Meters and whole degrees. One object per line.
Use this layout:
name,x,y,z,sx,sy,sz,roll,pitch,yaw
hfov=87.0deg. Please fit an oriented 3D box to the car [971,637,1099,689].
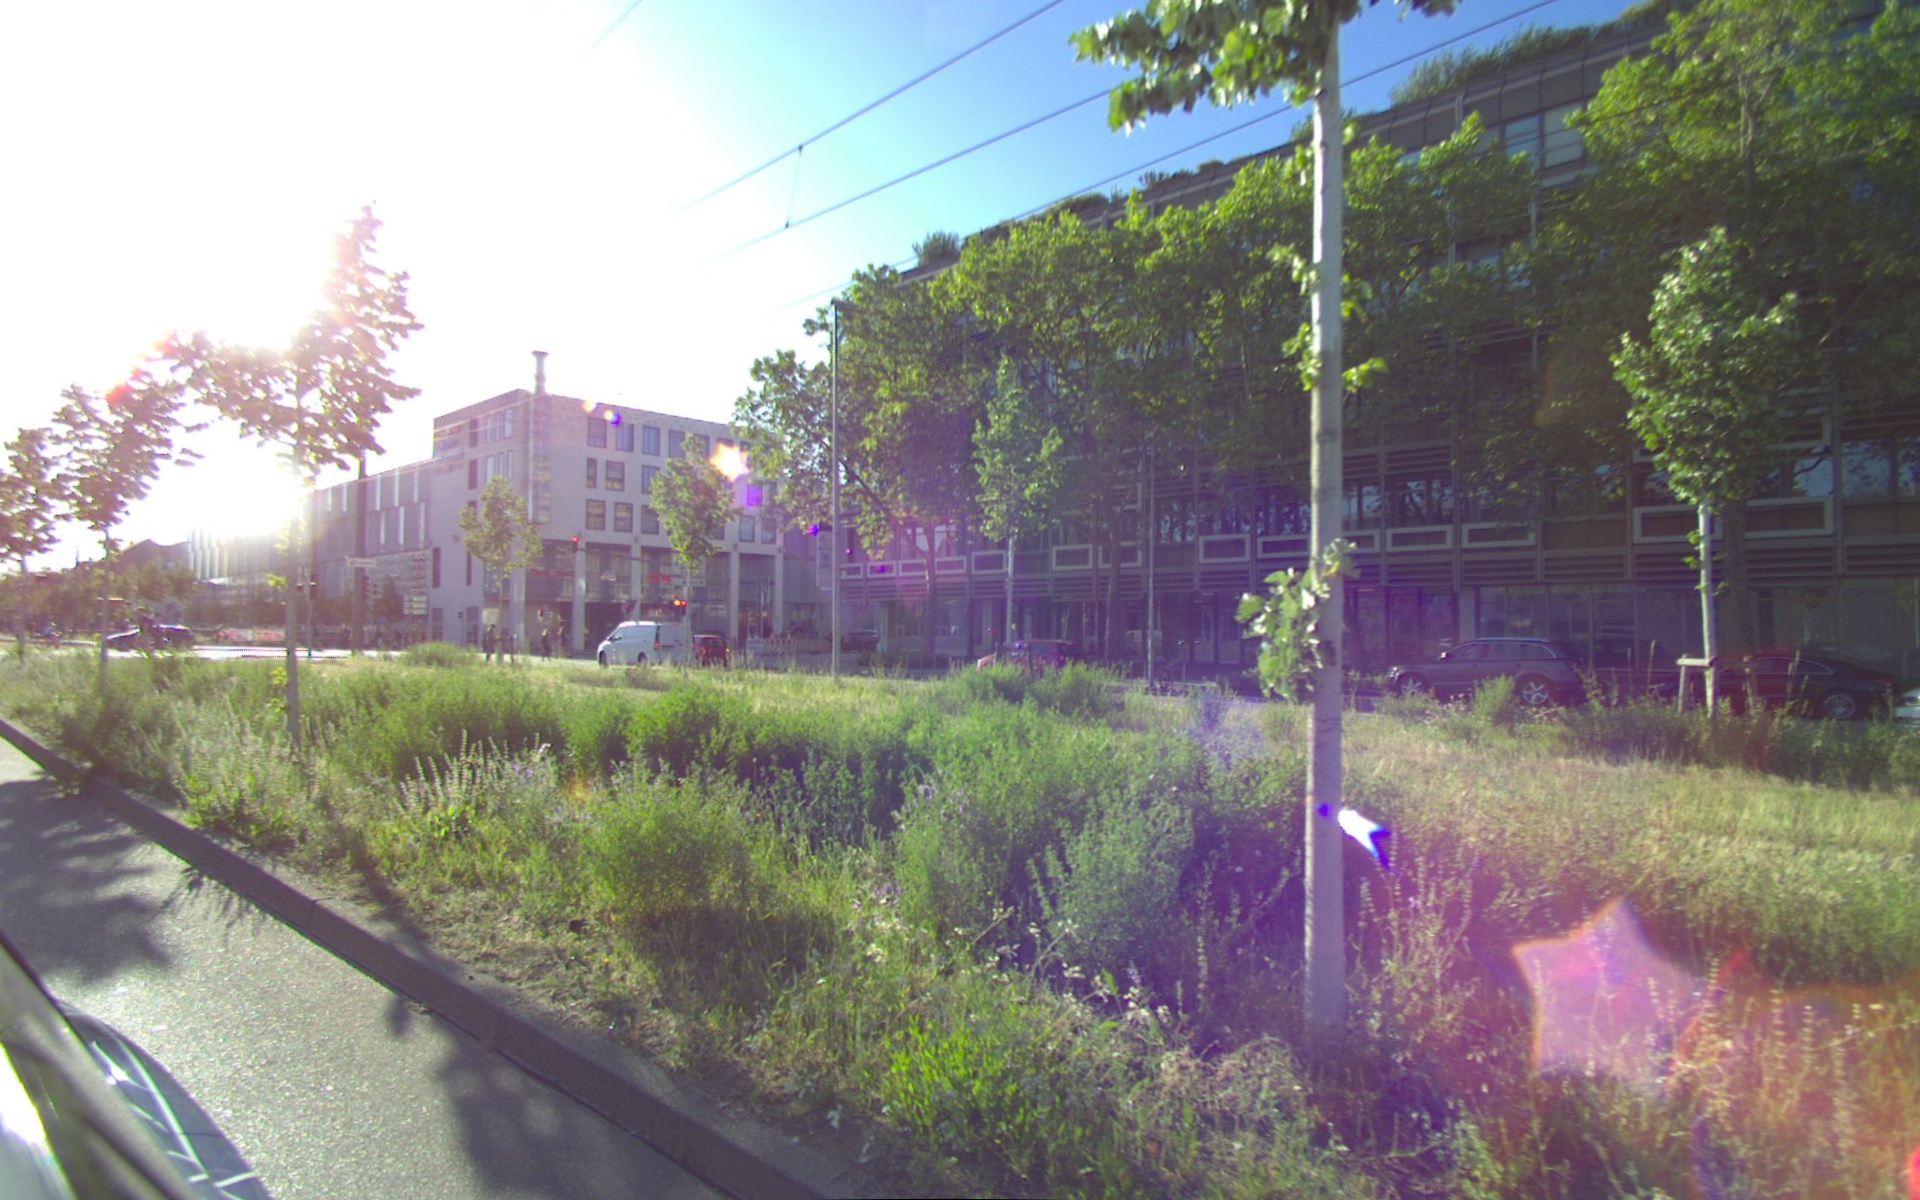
car,2.274,1.922,31.008,3.573,1.464,1.693,-1,-5,40

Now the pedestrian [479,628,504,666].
pedestrian,-21.825,2.195,47.154,0.857,1.757,0.729,-2,-2,39

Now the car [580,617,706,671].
car,-12.948,1.787,41.126,5.708,2.029,2.234,-2,-5,42

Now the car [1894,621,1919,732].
car,16.175,1.103,14.001,4.691,1.606,1.821,-1,-3,41

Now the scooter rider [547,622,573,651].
scooter rider,-22.012,2.002,55.714,0.644,1.556,1.101,0,-2,44

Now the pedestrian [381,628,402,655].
pedestrian,-43.013,3.130,76.574,0.907,2.029,1.021,0,-2,9

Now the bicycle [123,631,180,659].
bicycle,-33.464,1.858,41.925,1.770,1.102,0.711,1,-3,-34

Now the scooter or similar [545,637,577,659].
scooter or similar,-21.941,2.618,55.625,0.644,1.184,1.462,0,-2,44

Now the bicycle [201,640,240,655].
bicycle,-50.938,3.251,69.686,0.805,0.934,2.048,-1,-2,41

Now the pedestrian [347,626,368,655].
pedestrian,-44.532,2.996,74.750,0.889,2.140,0.943,0,-2,12

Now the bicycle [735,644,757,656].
bicycle,-19.454,4.521,91.836,0.822,1.119,2.479,2,-3,-41

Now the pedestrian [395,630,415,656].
pedestrian,-42.772,3.308,77.959,0.906,2.029,1.021,0,-2,7

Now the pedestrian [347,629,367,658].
pedestrian,-45.584,3.300,76.542,0.893,2.140,0.938,-1,-2,26

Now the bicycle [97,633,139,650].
bicycle,-51.969,2.563,62.460,1.948,1.004,0.650,1,-2,-42

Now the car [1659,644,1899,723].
car,18.282,1.785,22.688,4.002,1.532,1.971,-2,-2,45

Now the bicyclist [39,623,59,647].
bicyclist,-54.507,2.093,60.570,0.829,1.412,0.807,1,-2,-39

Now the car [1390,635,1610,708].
car,14.164,1.807,26.702,4.863,1.693,1.974,-1,-1,39

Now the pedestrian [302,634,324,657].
pedestrian,-45.370,3.194,70.979,0.934,1.583,0.839,0,-2,7

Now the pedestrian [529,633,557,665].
pedestrian,-20.701,2.434,50.286,0.895,1.561,0.915,-1,-1,29

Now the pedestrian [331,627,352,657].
pedestrian,-44.407,3.012,72.669,0.887,2.140,0.945,0,-2,5

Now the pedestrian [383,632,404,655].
pedestrian,-41.573,3.196,74.278,0.994,1.663,0.948,0,-2,2

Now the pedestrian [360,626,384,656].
pedestrian,-42.954,2.989,73.944,1.050,2.145,1.096,0,-2,5

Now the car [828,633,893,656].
car,-7.524,3.339,76.862,2.201,1.675,4.724,-2,-3,43

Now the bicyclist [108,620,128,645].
bicyclist,-51.991,2.007,62.469,0.927,1.556,0.650,1,-2,-42

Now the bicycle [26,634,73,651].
bicycle,-54.467,2.516,60.576,2.044,0.986,0.807,1,-2,-39

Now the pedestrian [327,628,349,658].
pedestrian,-45.359,3.141,73.782,0.889,2.140,0.943,0,-2,13

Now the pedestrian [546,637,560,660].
pedestrian,-31.280,3.702,77.752,0.753,1.753,0.746,-2,-3,45

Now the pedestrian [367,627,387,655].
pedestrian,-44.302,3.125,76.923,0.890,2.140,0.942,0,-2,15

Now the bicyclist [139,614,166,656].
bicyclist,-33.458,1.452,41.931,0.773,1.682,0.703,1,-3,-34

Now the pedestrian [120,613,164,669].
pedestrian,-28.921,1.441,35.785,1.014,1.925,1.036,-1,-2,41

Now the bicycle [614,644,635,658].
bicycle,-27.647,4.176,83.400,0.648,1.121,2.413,2,-3,-43

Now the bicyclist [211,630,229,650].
bicyclist,-50.946,2.748,69.698,0.805,1.367,0.830,-1,-2,42

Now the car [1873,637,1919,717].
car,21.290,1.559,20.063,4.619,1.569,1.726,-1,-1,40

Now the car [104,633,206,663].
car,-45.102,2.657,56.751,4.231,1.593,1.945,2,-3,-45

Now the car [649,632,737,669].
car,-11.656,2.199,44.103,3.879,1.497,1.820,-2,-6,42
